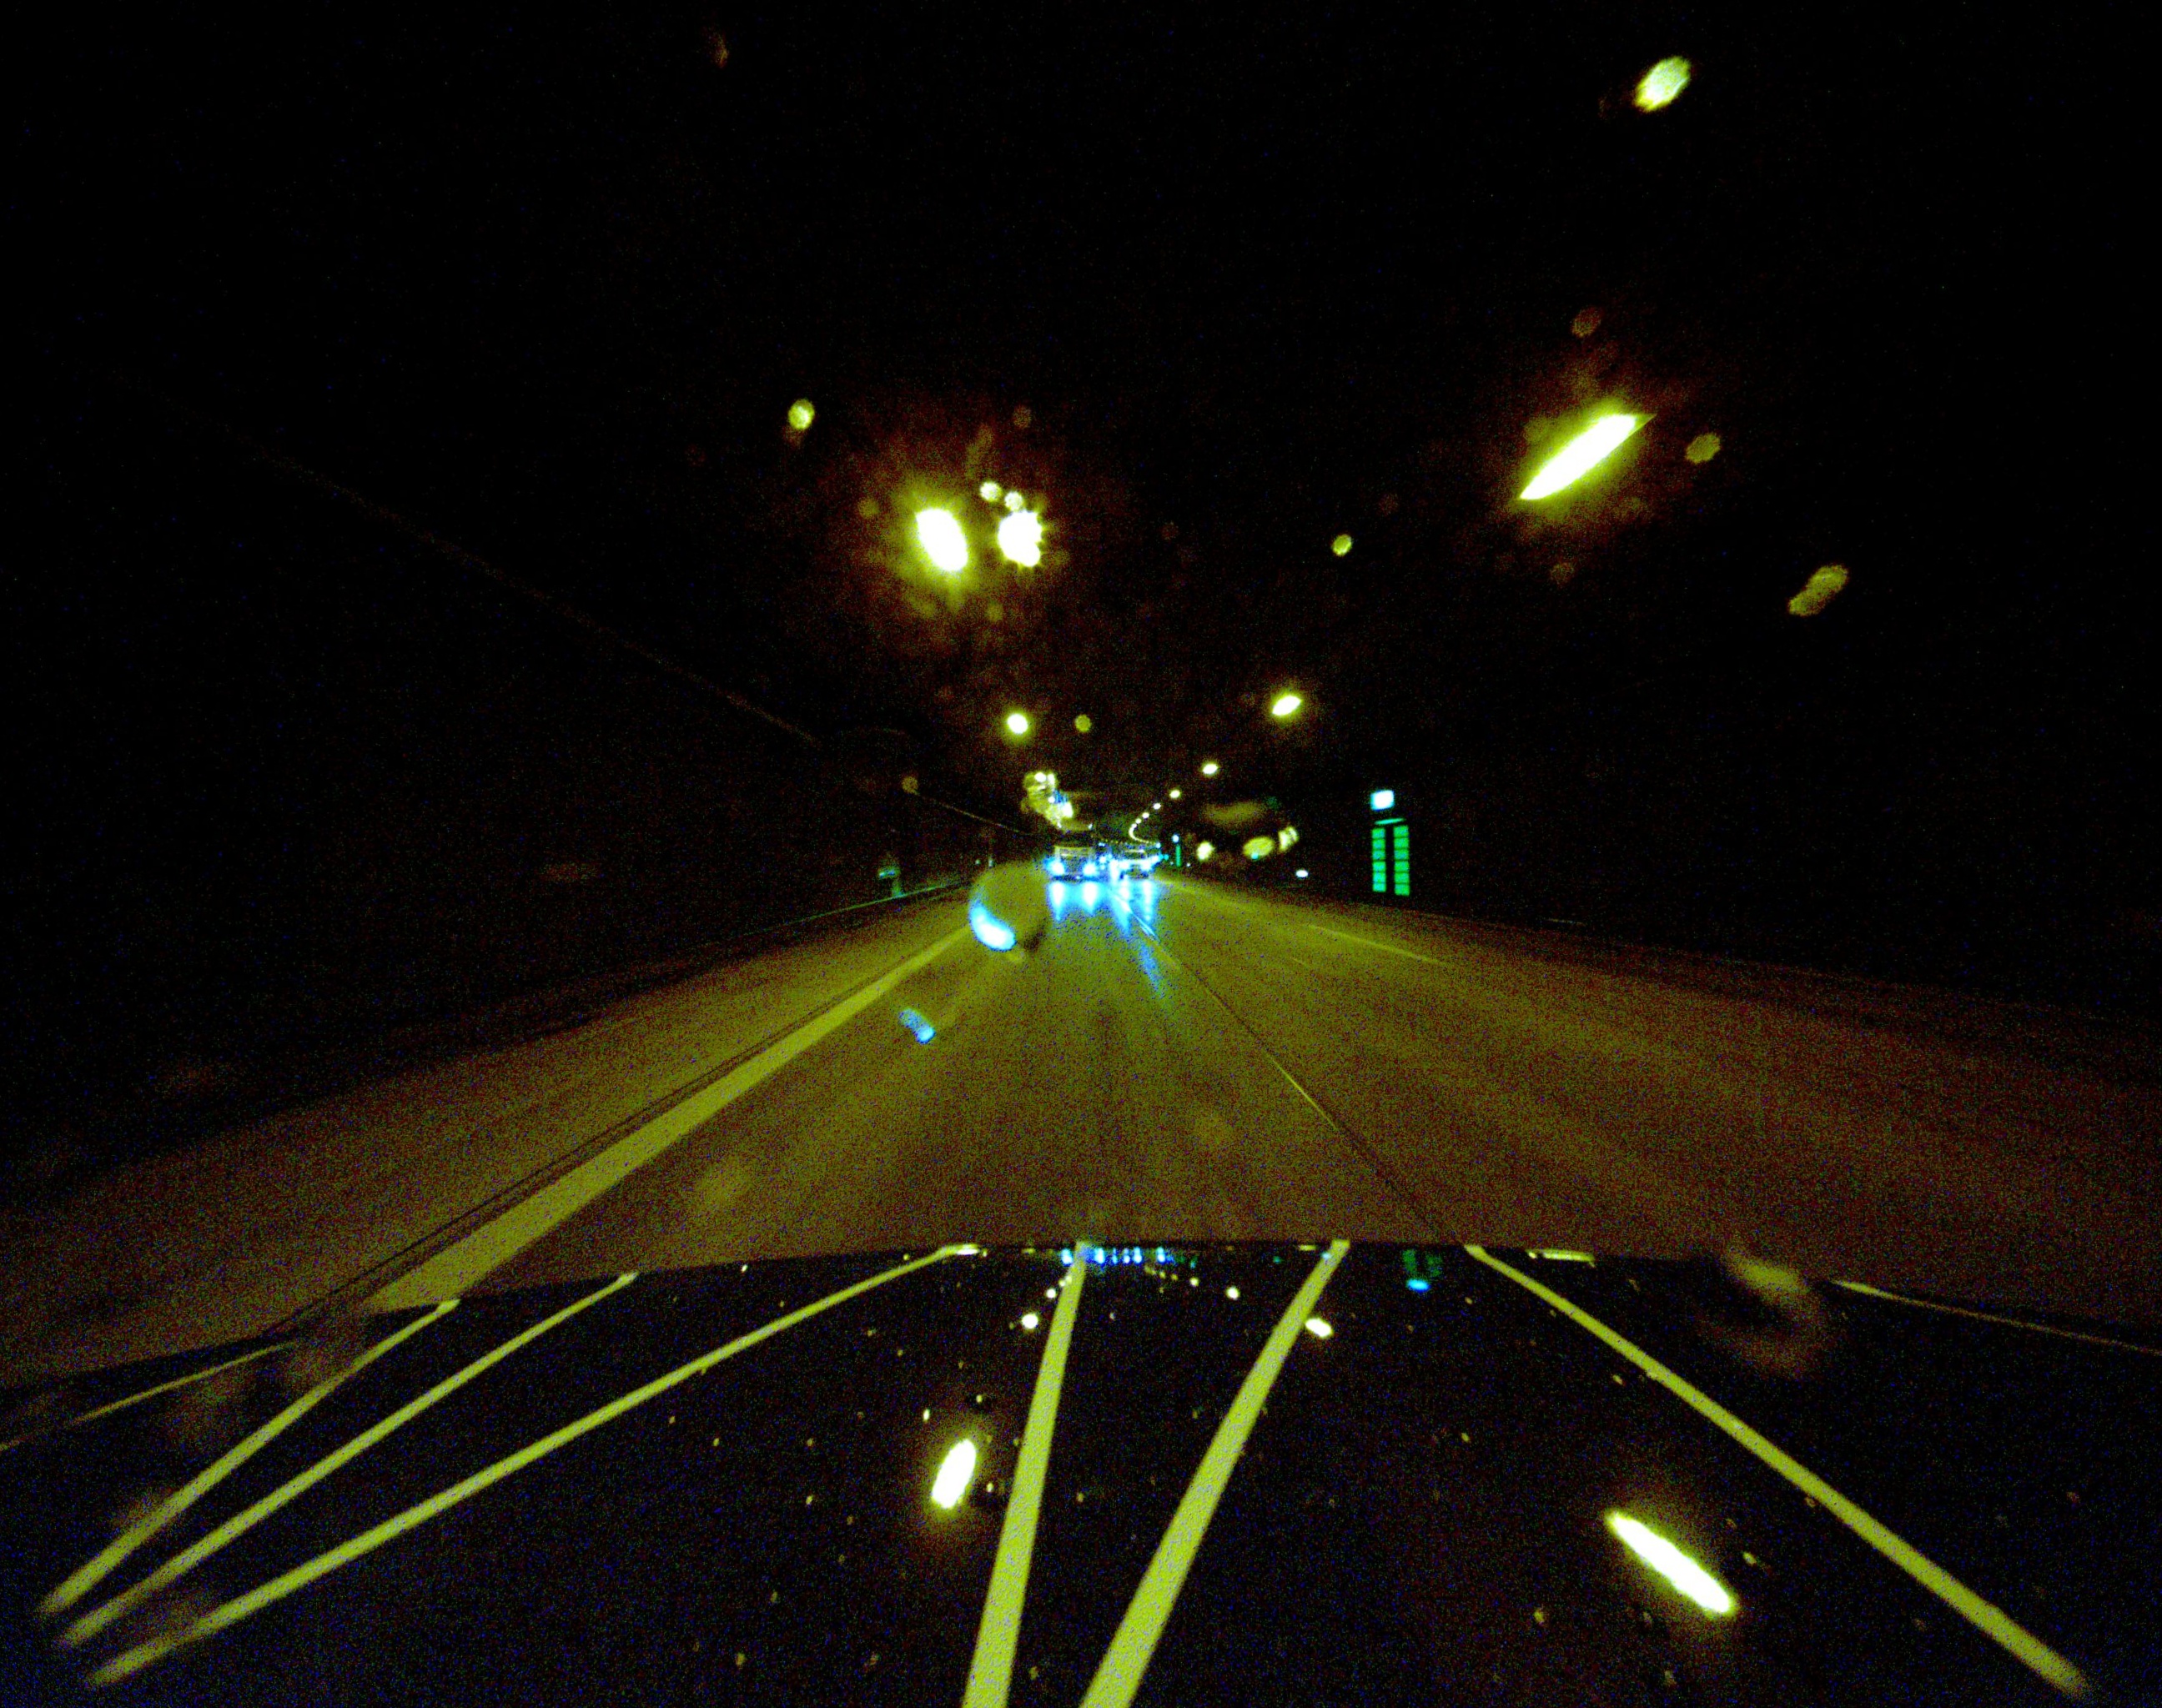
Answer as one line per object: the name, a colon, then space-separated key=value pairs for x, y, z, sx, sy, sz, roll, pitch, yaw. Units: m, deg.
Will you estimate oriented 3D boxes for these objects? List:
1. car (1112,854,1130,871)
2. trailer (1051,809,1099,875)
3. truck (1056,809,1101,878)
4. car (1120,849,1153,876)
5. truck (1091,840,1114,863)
car: x=4.813 y=0.991 z=91.349 sx=1.998 sy=1.890 sz=4.000 roll=-4 pitch=0 yaw=3
trailer: x=-0.621 y=-0.792 z=54.832 sx=2.628 sy=4.139 sz=13.995 roll=-1 pitch=0 yaw=-4
truck: x=-0.243 y=-0.649 z=48.701 sx=2.653 sy=4.139 sz=6.002 roll=0 pitch=1 yaw=-3
car: x=3.884 y=0.562 z=54.045 sx=1.999 sy=1.890 sz=3.999 roll=0 pitch=0 yaw=-1
truck: x=3.760 y=-0.476 z=131.165 sx=2.899 sy=3.819 sz=9.002 roll=0 pitch=1 yaw=9
